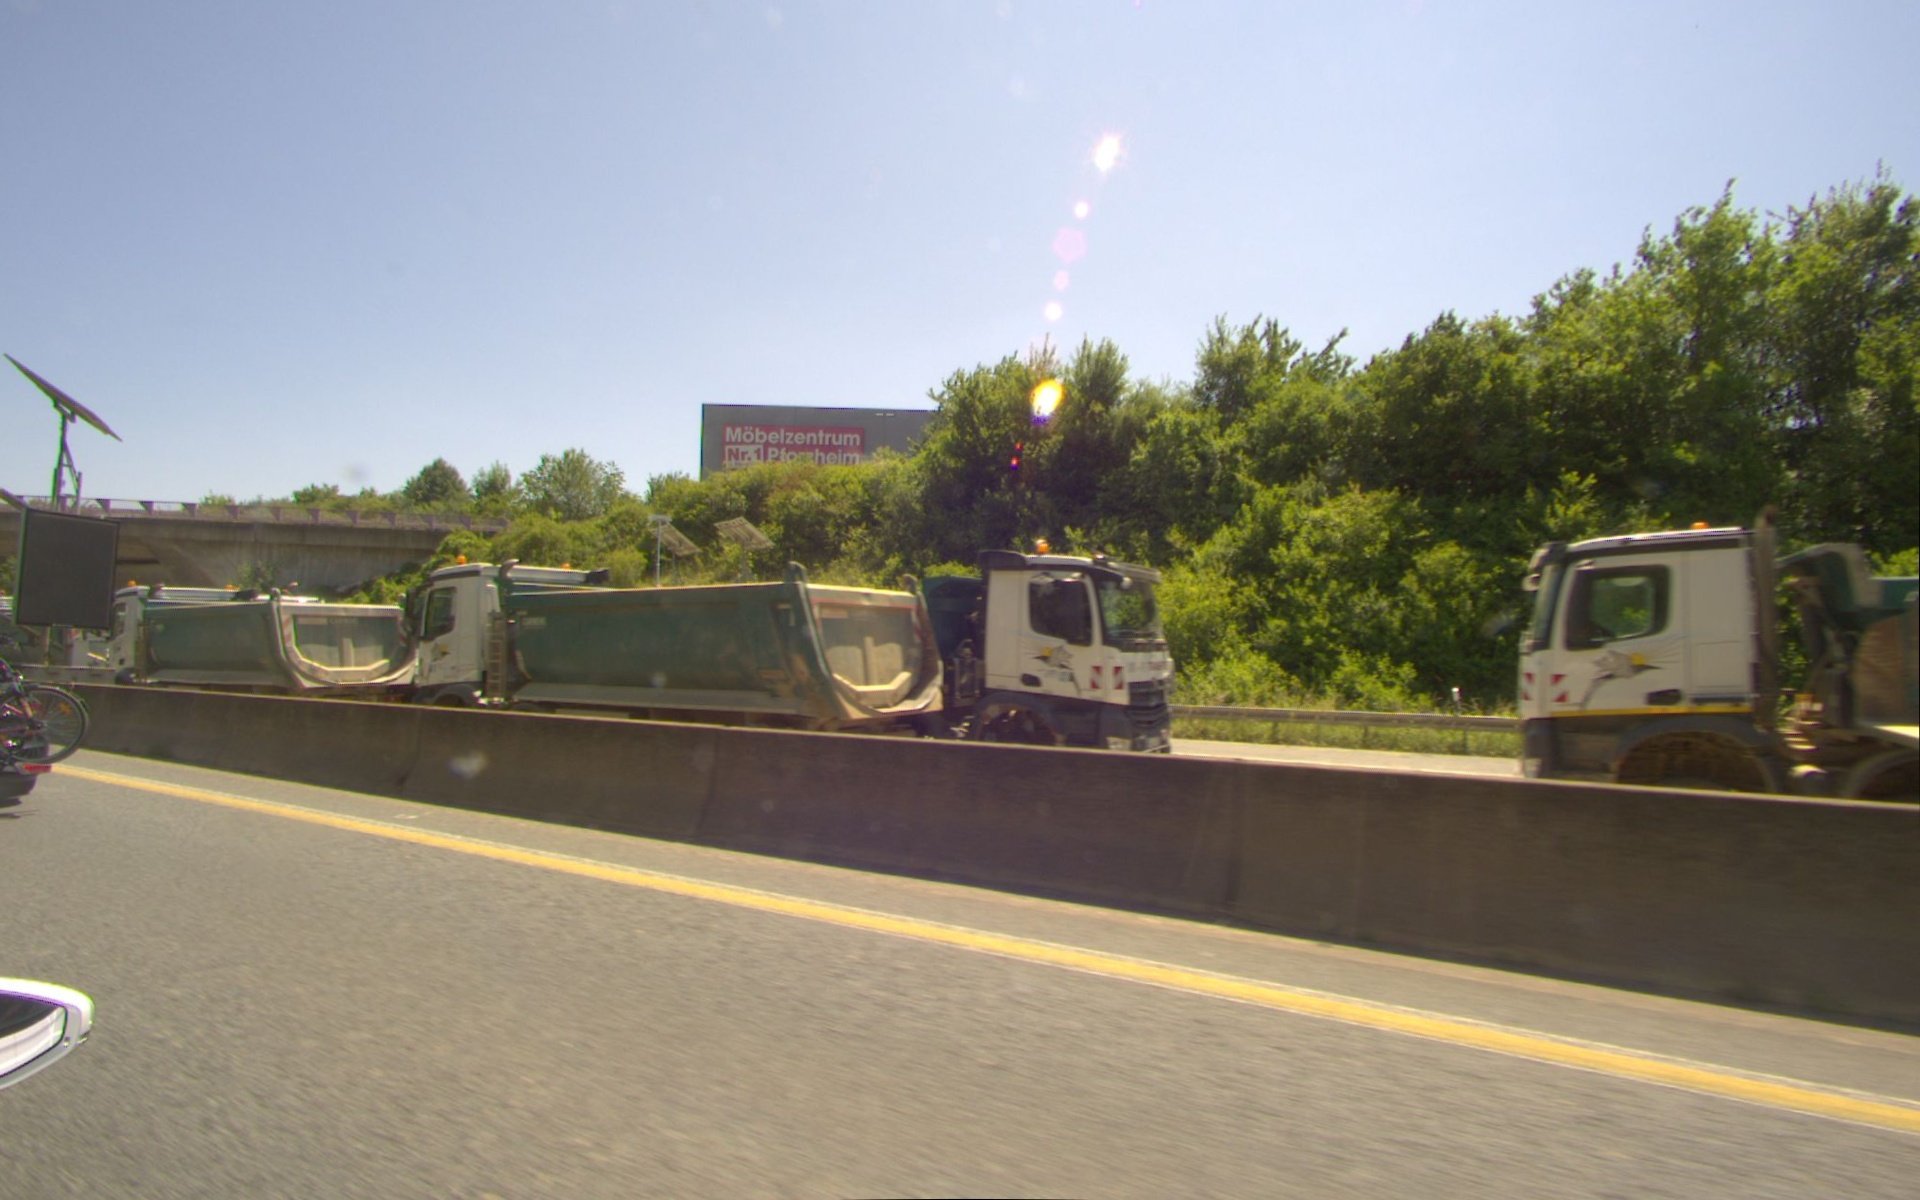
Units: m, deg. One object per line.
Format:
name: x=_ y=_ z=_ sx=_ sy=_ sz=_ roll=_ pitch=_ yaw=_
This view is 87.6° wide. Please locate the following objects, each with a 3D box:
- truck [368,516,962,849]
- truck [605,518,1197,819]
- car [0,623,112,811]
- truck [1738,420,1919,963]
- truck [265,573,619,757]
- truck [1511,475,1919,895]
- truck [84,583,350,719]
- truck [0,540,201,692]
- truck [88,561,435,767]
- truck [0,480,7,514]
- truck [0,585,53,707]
truck: x=-4.679 y=1.004 z=14.526 sx=9.465 sy=3.602 sz=2.683 roll=-1 pitch=-2 yaw=32
truck: x=-1.318 y=0.939 z=15.666 sx=9.464 sy=3.602 sz=2.683 roll=-1 pitch=-2 yaw=32
car: x=-9.878 y=0.984 z=9.152 sx=4.878 sy=1.509 sz=1.896 roll=-2 pitch=-3 yaw=33
truck: x=10.496 y=0.583 z=5.573 sx=9.464 sy=3.602 sz=2.535 roll=-1 pitch=-2 yaw=32
truck: x=-11.825 y=1.327 z=22.369 sx=9.467 sy=3.420 sz=2.682 roll=-1 pitch=-2 yaw=33
truck: x=10.341 y=0.749 z=8.856 sx=9.465 sy=3.602 sz=2.683 roll=-1 pitch=-2 yaw=32
truck: x=-21.501 y=1.402 z=28.764 sx=9.461 sy=3.420 sz=2.684 roll=-1 pitch=-2 yaw=31
truck: x=-24.411 y=0.490 z=27.289 sx=9.188 sy=3.602 sz=2.684 roll=-1 pitch=-2 yaw=31
truck: x=-15.000 y=1.229 z=21.173 sx=9.273 sy=3.602 sz=2.683 roll=-1 pitch=-2 yaw=33
truck: x=-62.747 y=-6.512 z=61.937 sx=5.408 sy=2.092 sz=1.937 roll=0 pitch=-2 yaw=-4
truck: x=-32.457 y=1.428 z=31.909 sx=9.188 sy=3.602 sz=2.684 roll=-1 pitch=-2 yaw=31
